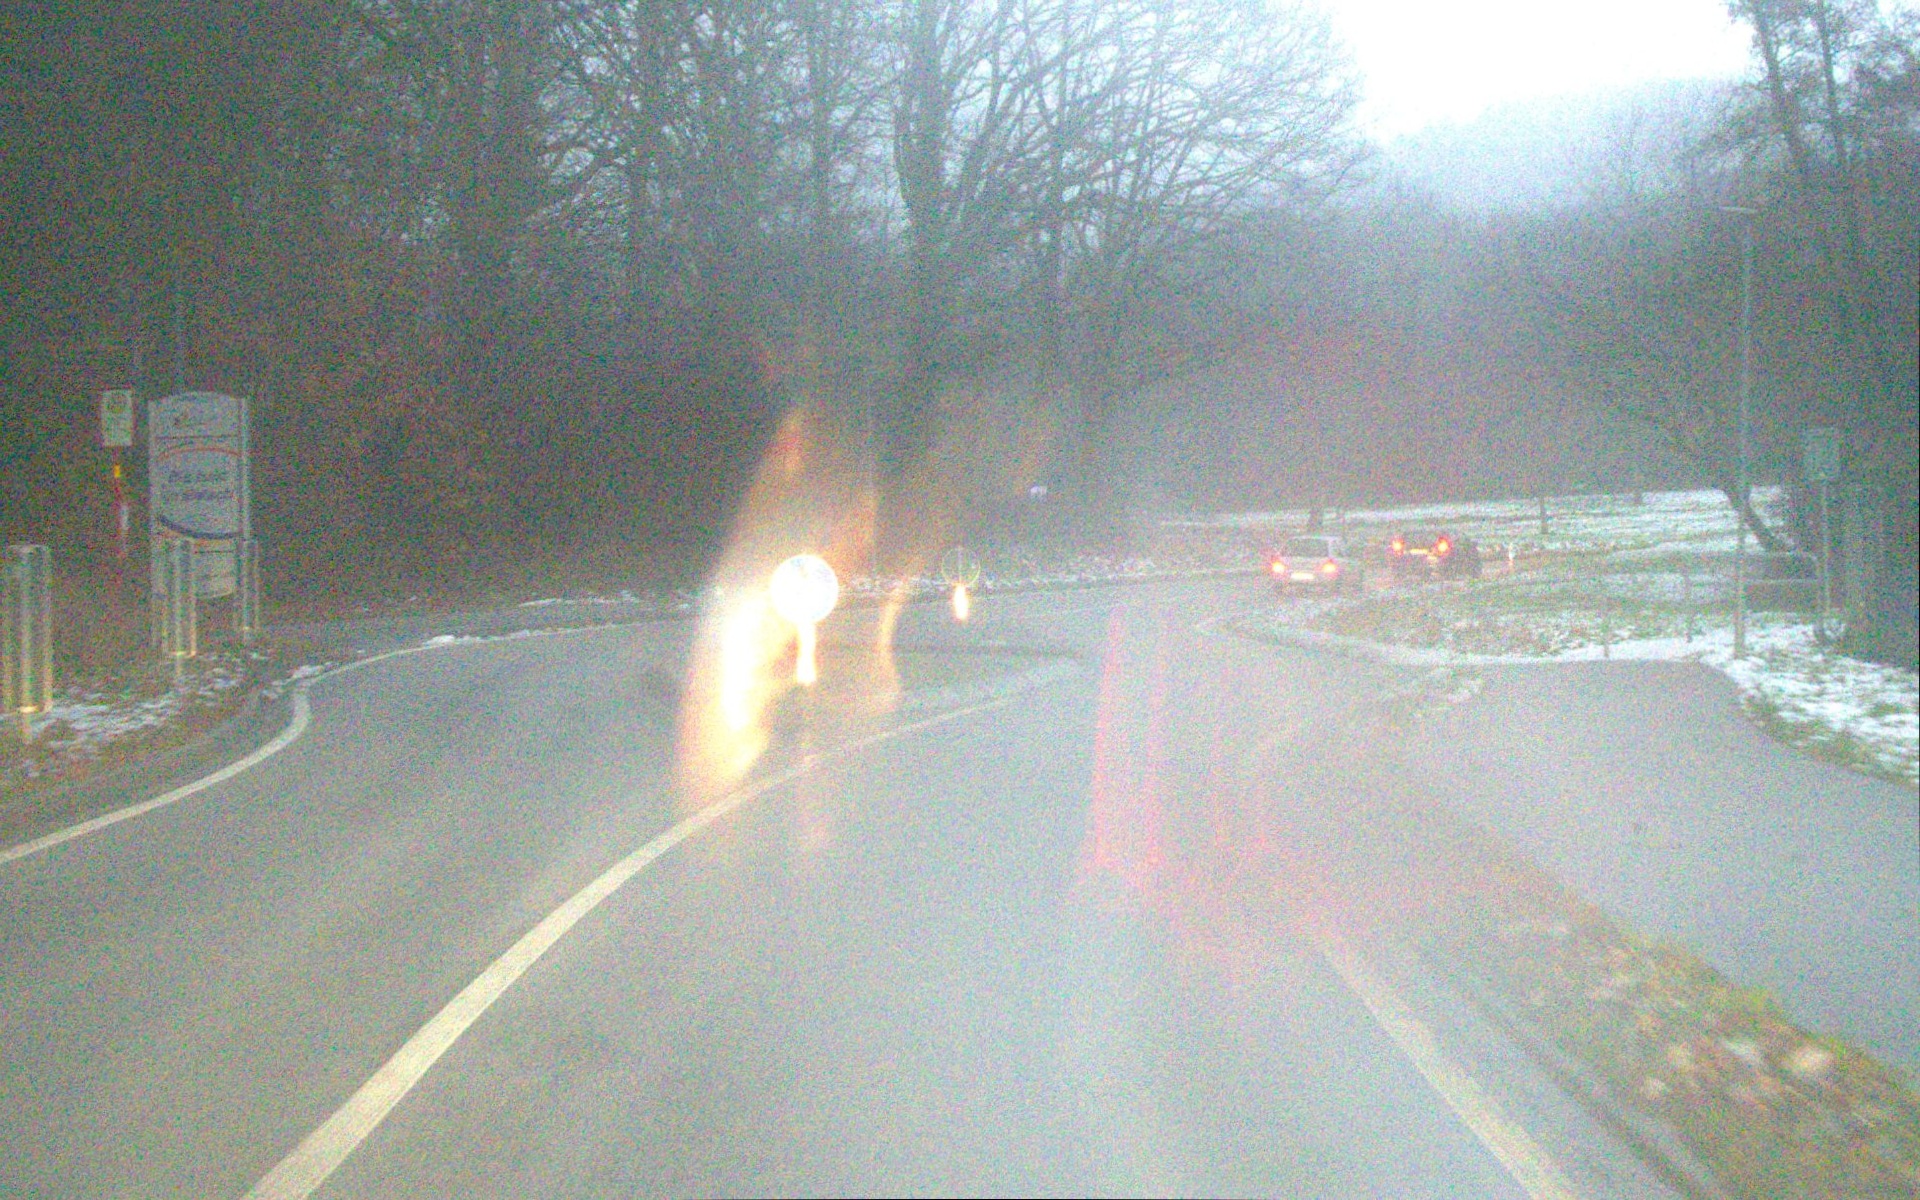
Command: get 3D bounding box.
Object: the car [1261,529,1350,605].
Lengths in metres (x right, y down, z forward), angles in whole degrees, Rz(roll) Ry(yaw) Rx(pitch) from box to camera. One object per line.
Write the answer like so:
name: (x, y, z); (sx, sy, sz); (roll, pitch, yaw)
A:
car: (8.459, -0.832, 83.910); (1.933, 1.775, 3.999); (0, 1, 9)

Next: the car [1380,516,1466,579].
car: (12.913, -1.476, 95.724); (1.934, 1.670, 3.998); (0, 1, 14)
